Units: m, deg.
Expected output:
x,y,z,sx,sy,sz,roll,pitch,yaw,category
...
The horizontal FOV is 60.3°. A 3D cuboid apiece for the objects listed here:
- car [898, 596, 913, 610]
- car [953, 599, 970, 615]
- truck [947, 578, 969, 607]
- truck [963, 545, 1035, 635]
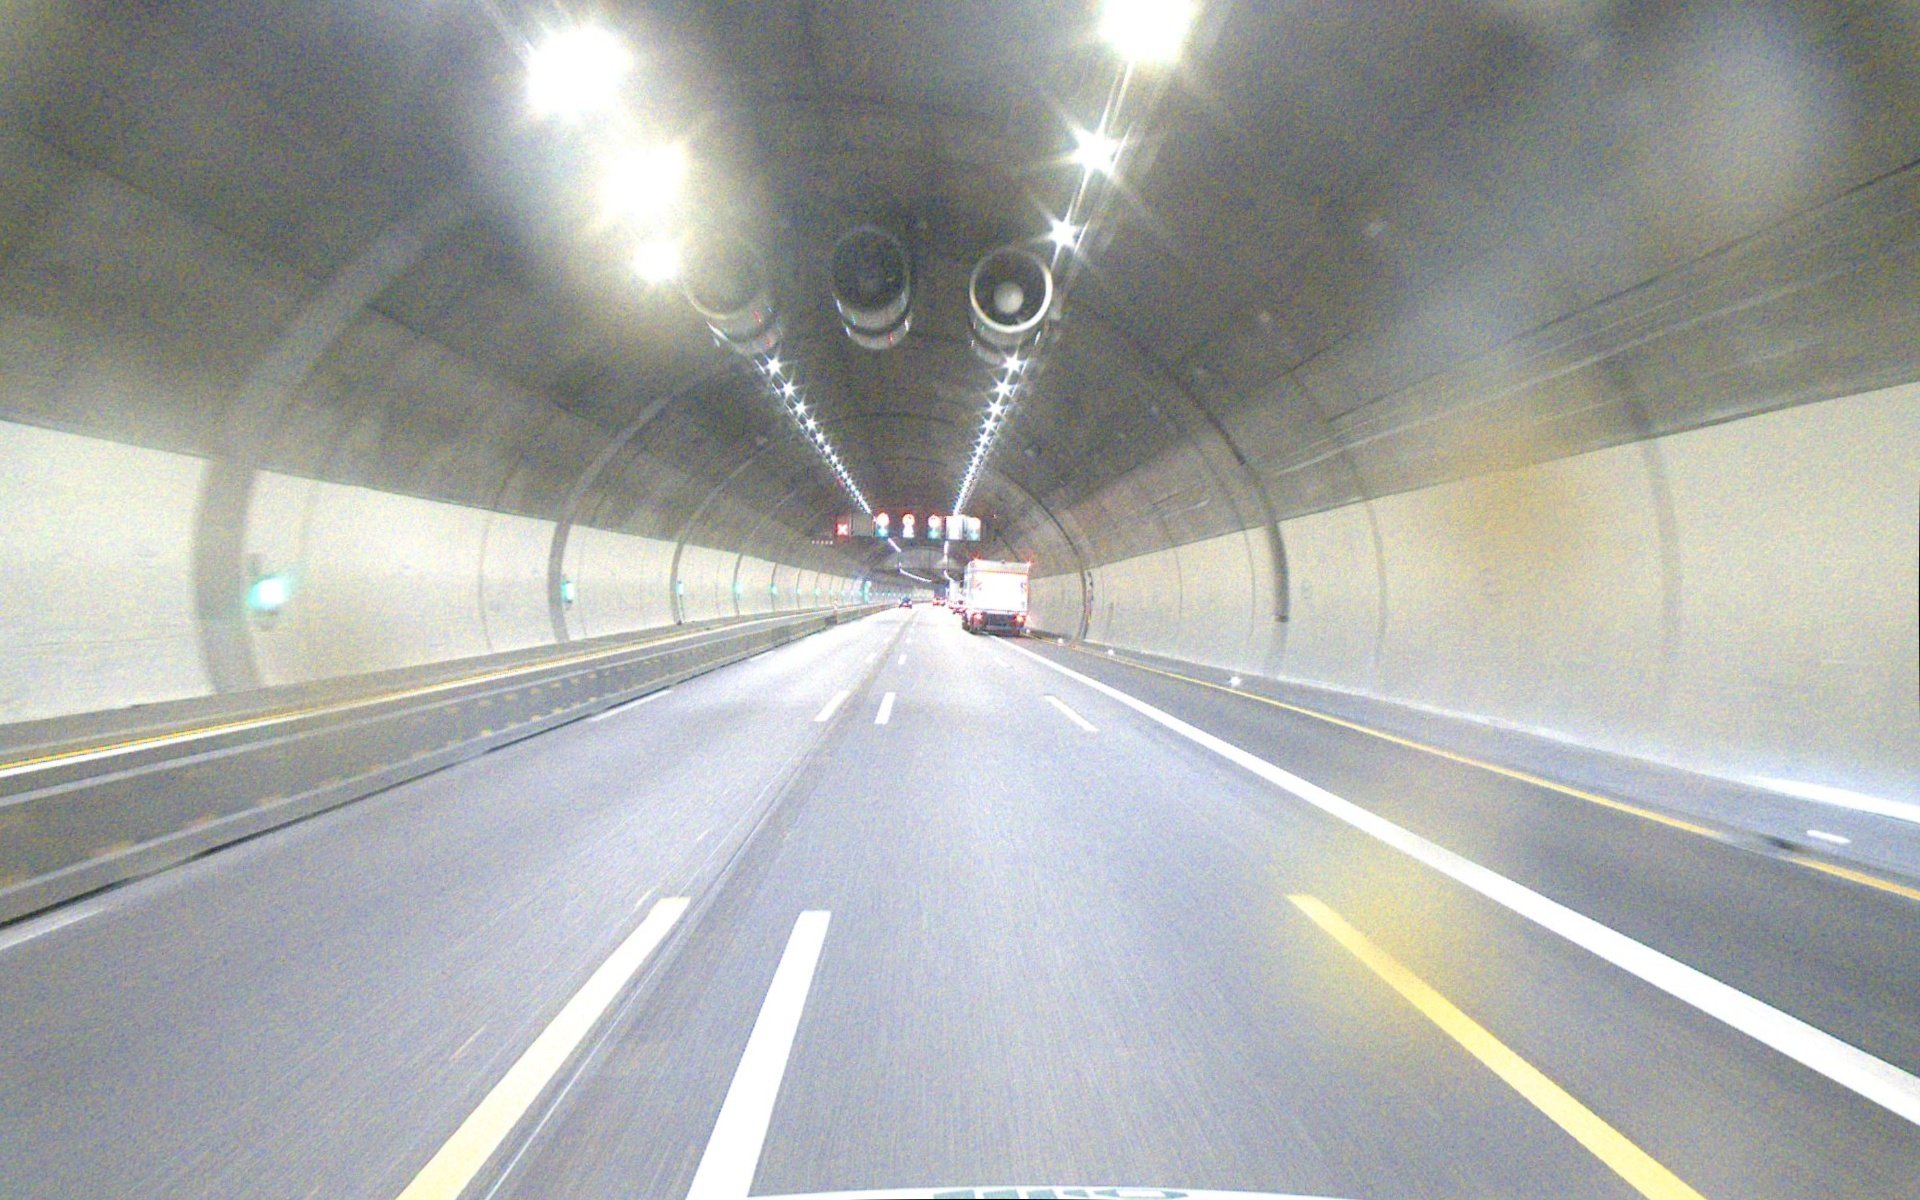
x,y,z,sx,sy,sz,roll,pitch,yaw,category
-6.547,0.357,198.287,1.723,1.486,4.118,1,1,-1,car
0.155,0.706,169.174,1.704,1.486,3.960,1,1,0,car
-0.195,-1.048,239.618,3.003,3.986,10.367,2,-1,0,truck
1.784,-0.398,80.241,3.029,3.986,10.365,2,-1,-1,truck
